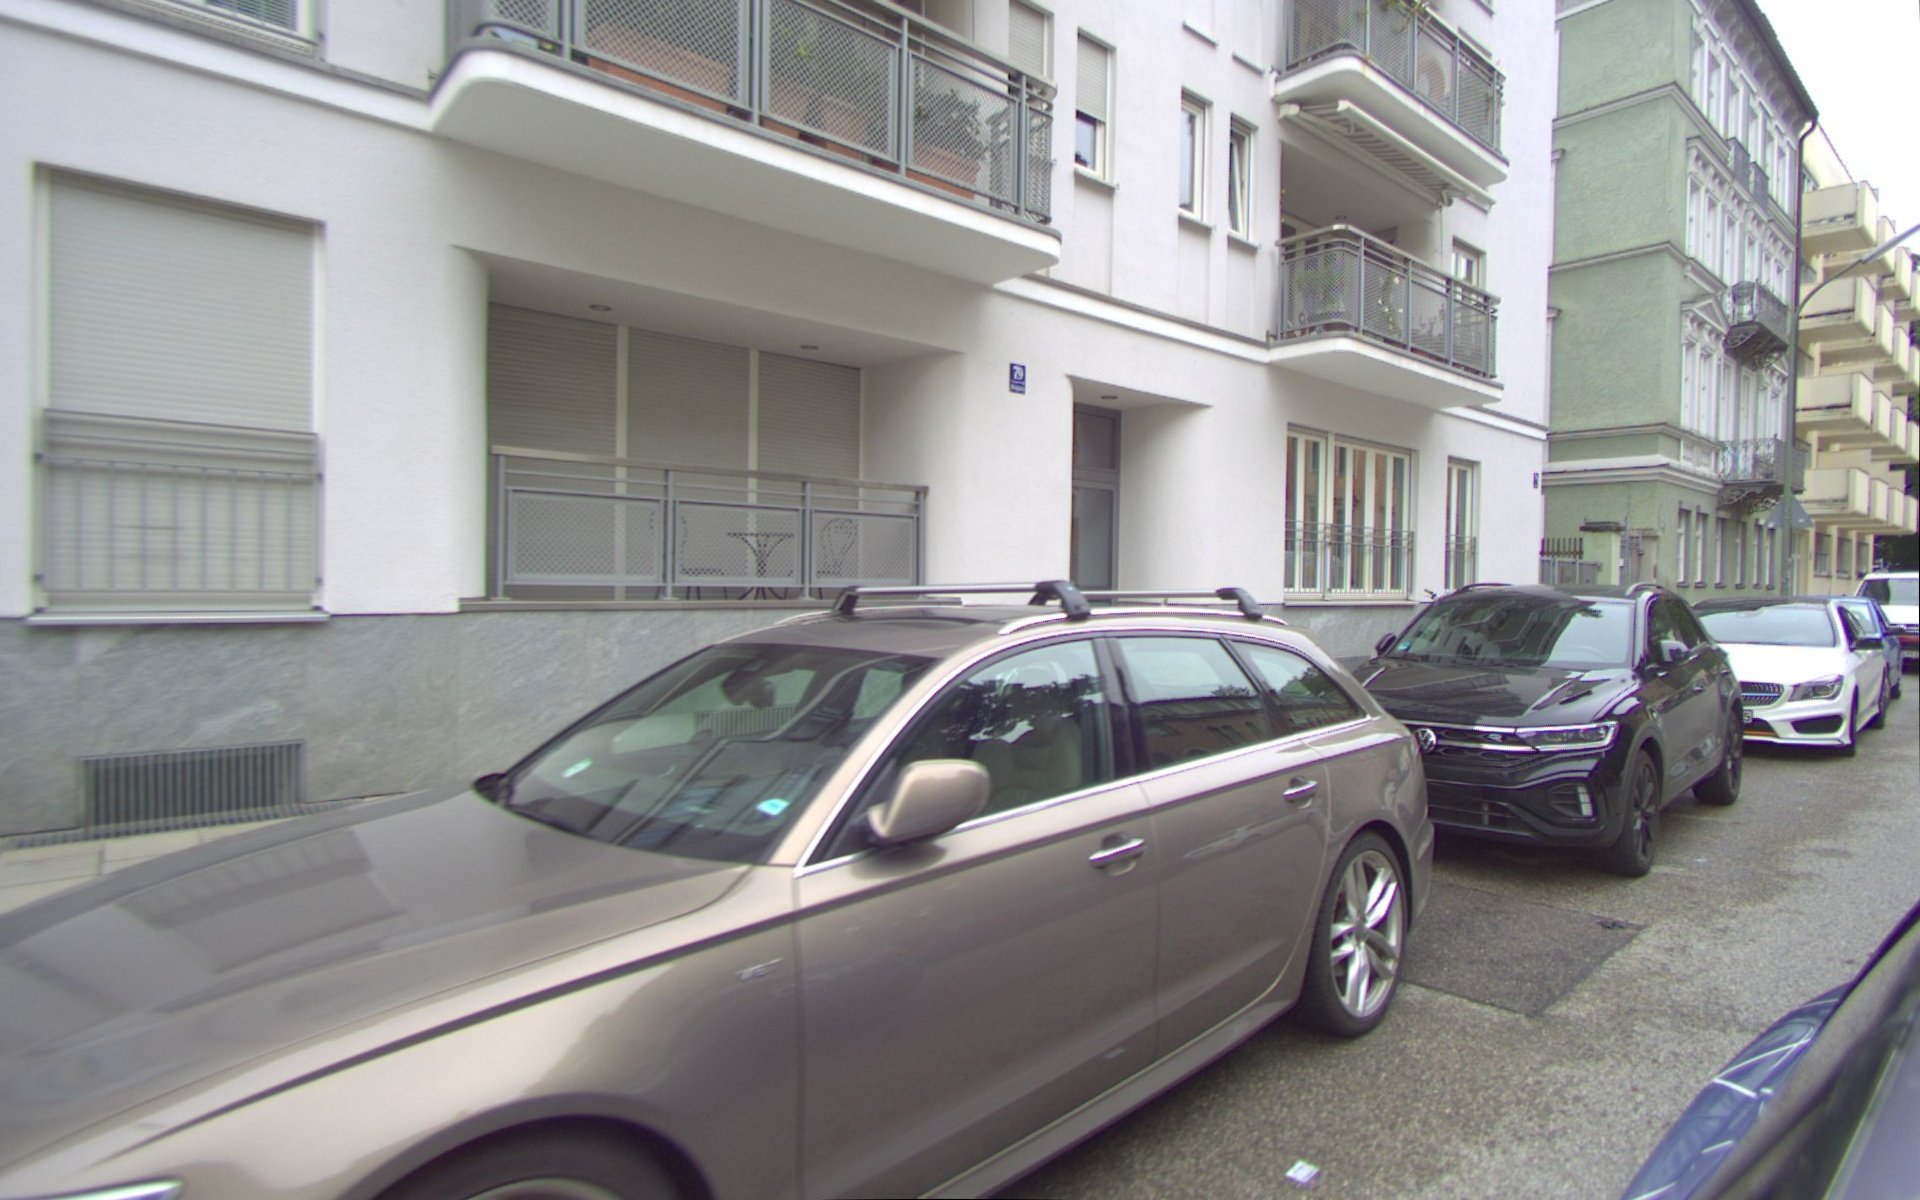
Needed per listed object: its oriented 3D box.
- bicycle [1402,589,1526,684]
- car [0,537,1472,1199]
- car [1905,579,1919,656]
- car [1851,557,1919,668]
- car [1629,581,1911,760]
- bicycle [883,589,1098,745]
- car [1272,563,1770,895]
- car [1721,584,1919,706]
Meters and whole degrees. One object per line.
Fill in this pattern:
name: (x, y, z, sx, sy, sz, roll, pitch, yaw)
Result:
bicycle: (6.818, 0.450, 13.637, 1.939, 1.186, 0.803, 0, 1, -41)
car: (-0.267, 0.666, 3.064, 4.525, 1.501, 1.793, 0, 0, -43)
car: (23.716, 0.393, 23.671, 4.615, 1.732, 1.859, 0, 1, -41)
car: (19.477, 0.237, 20.260, 4.699, 2.056, 1.857, 0, 0, -41)
car: (8.523, 0.577, 10.500, 4.302, 1.485, 1.666, 0, 0, -43)
bicycle: (0.285, 0.490, 8.241, 1.778, 1.111, 0.570, 0, 5, -41)
car: (3.924, 0.589, 6.773, 3.954, 1.552, 1.839, 0, 0, -44)
car: (11.868, 0.527, 13.850, 3.656, 1.441, 1.717, 0, 0, -43)
